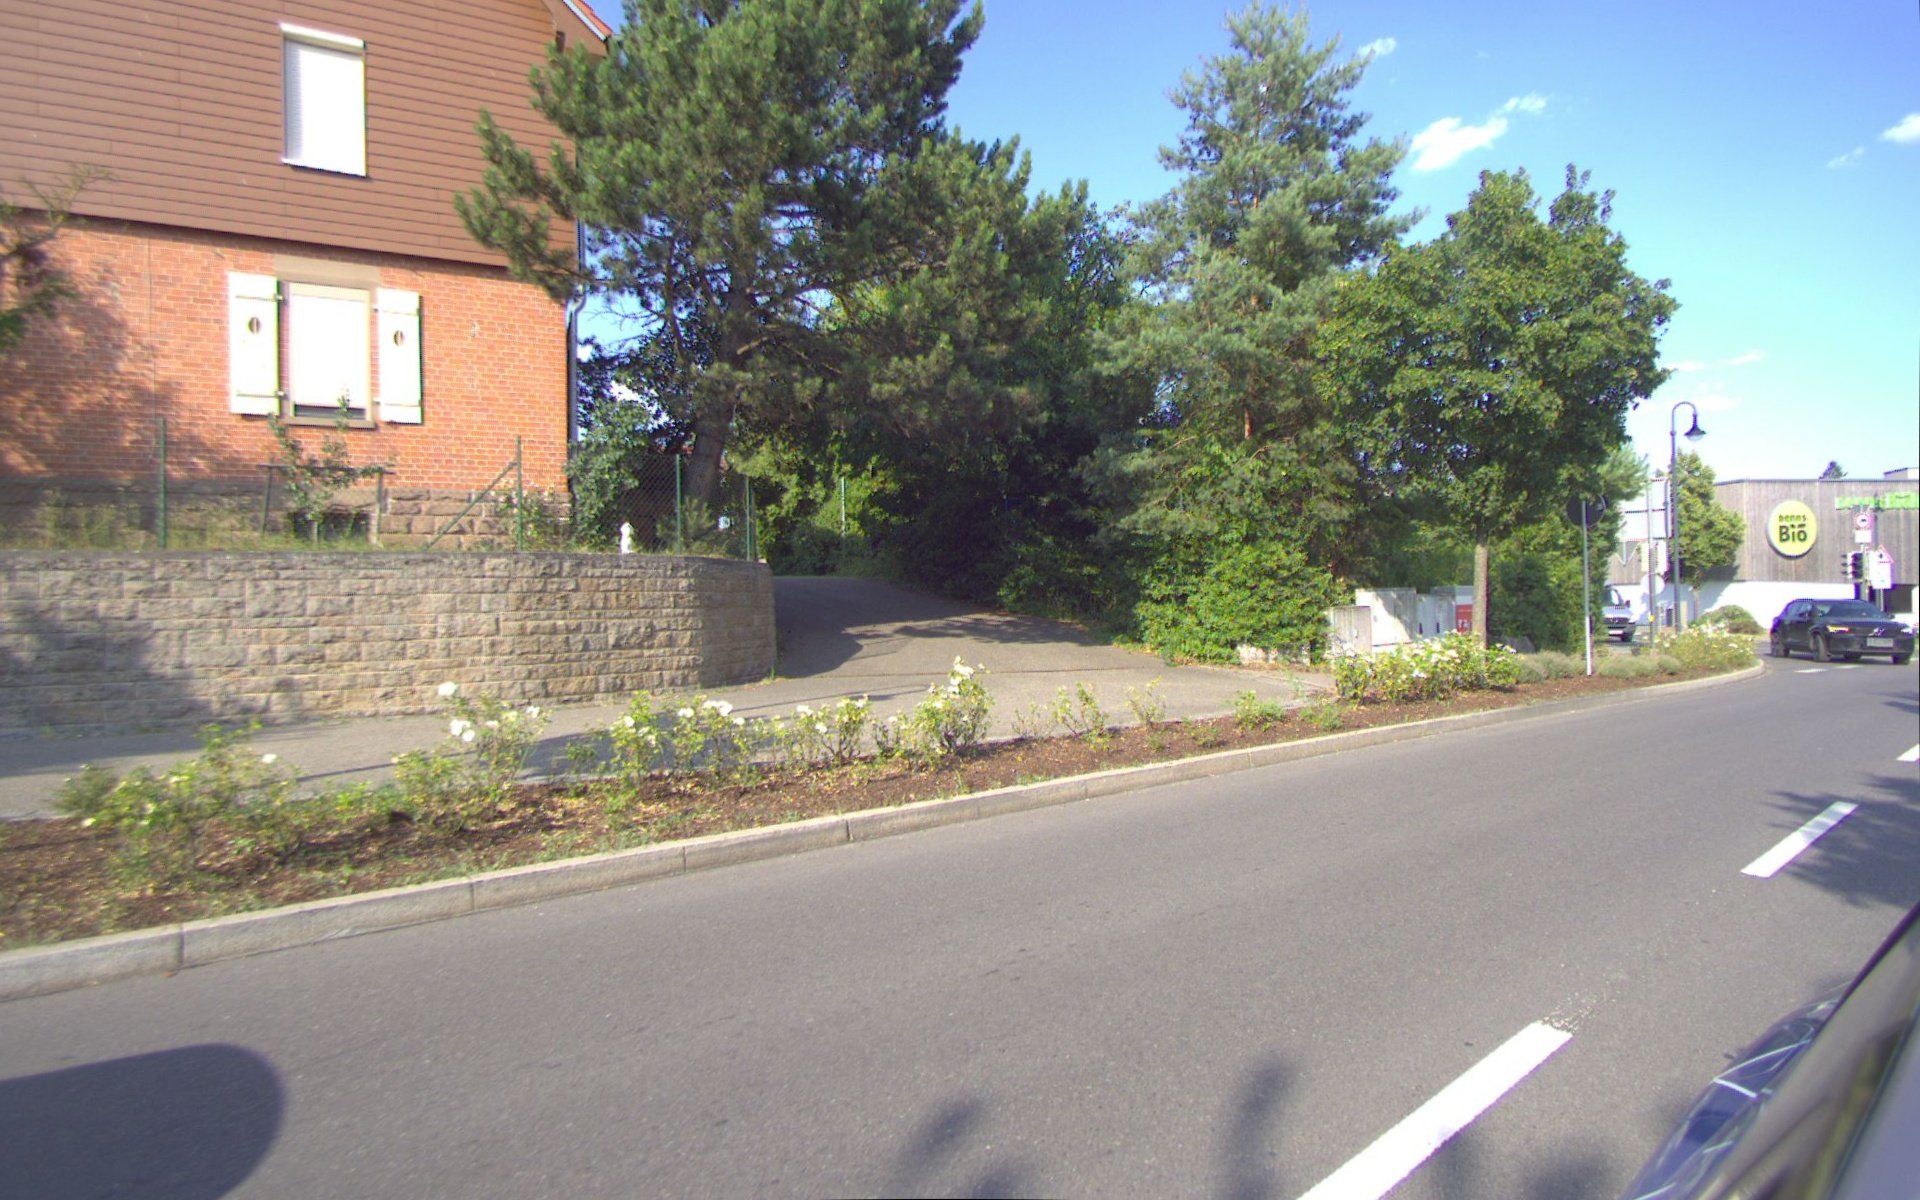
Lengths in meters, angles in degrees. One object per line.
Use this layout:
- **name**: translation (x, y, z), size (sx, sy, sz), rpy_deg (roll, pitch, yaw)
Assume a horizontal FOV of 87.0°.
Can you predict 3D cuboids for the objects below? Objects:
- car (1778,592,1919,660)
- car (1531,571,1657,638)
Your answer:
- **car**: translation (22.907, 0.602, 26.044), size (1.772, 1.587, 4.237), rpy_deg (1, 0, 23)
- **car**: translation (25.963, 0.167, 41.755), size (2.157, 2.553, 5.847), rpy_deg (1, 0, 8)
